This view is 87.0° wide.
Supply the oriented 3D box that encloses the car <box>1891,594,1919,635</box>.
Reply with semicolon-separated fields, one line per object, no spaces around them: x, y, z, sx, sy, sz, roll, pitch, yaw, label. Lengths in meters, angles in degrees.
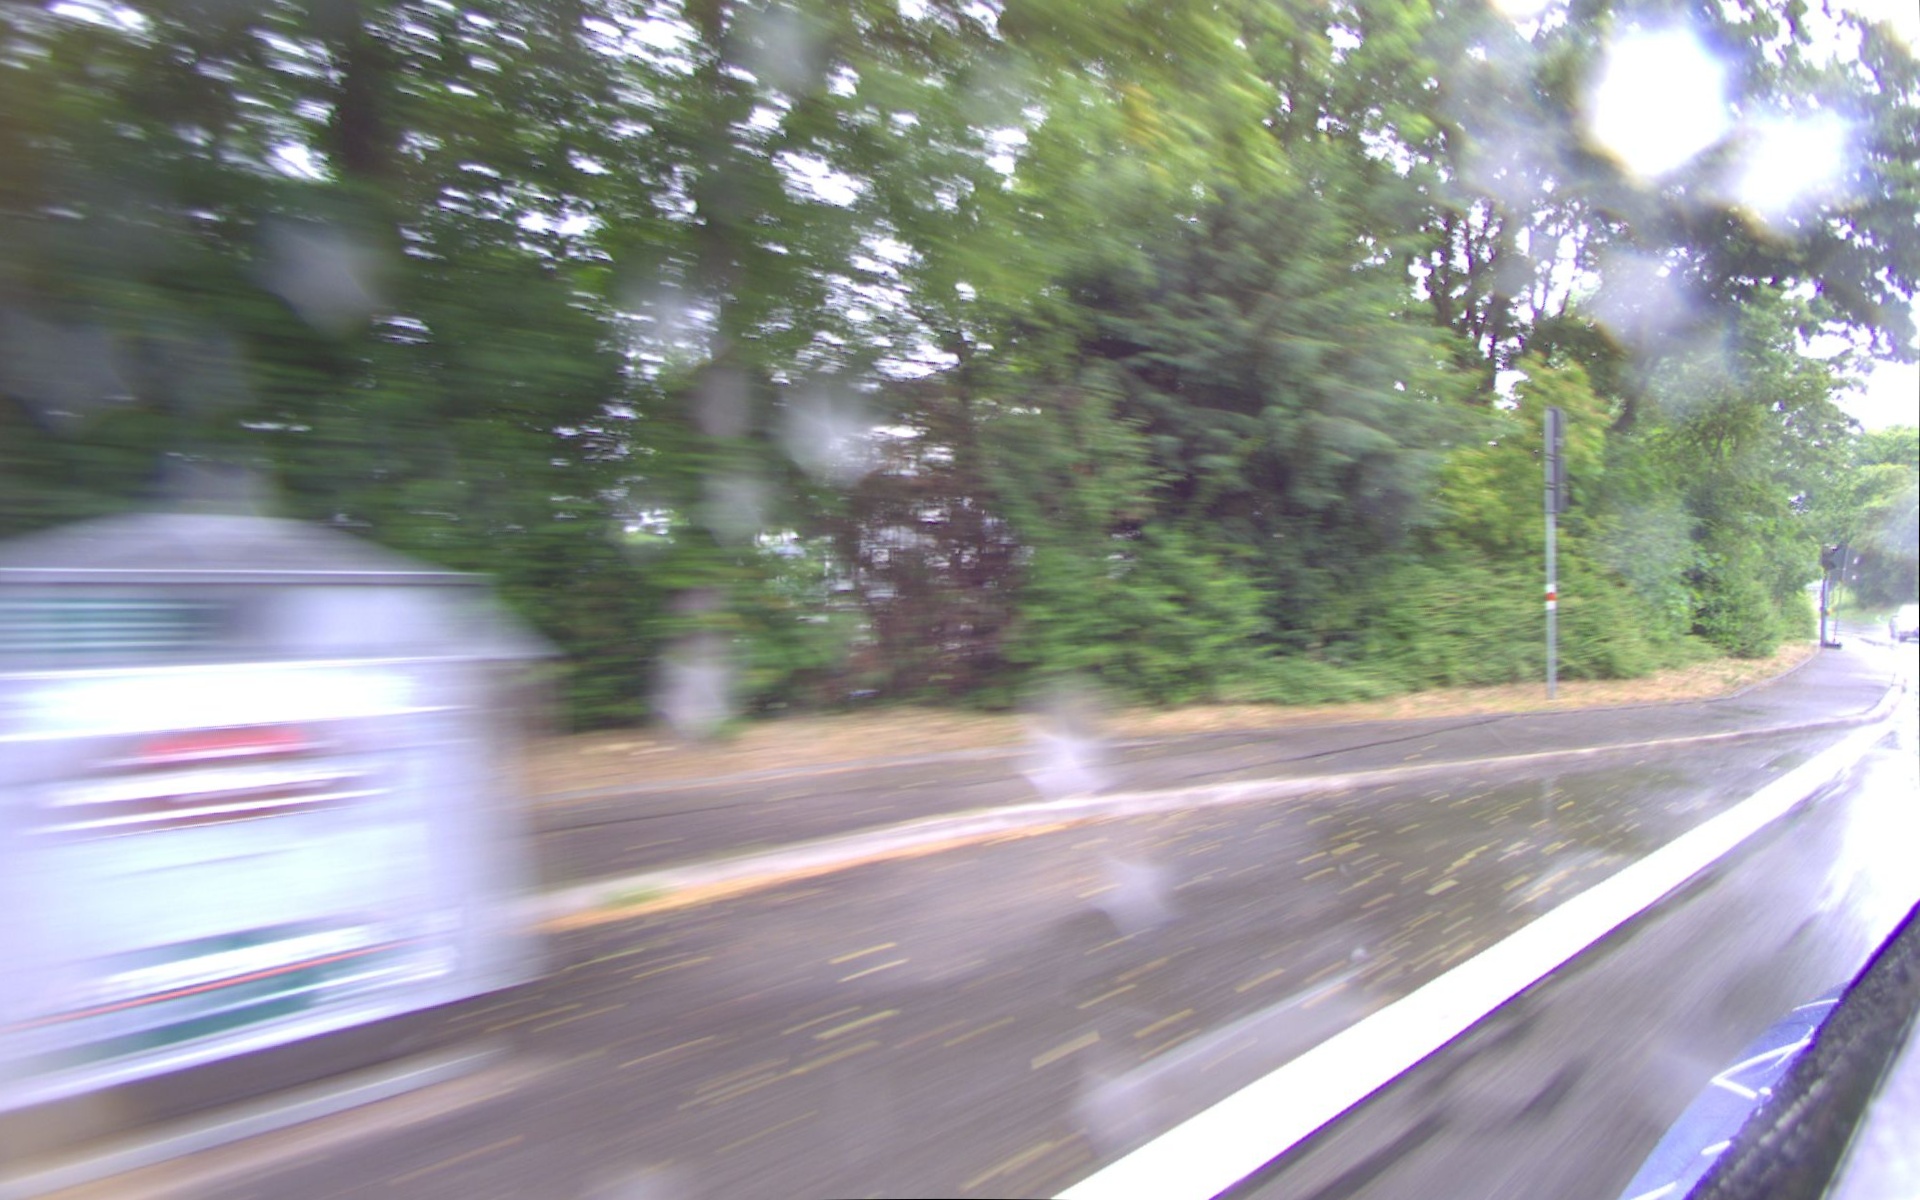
38.382;0.543;39.916;1.788;1.572;3.952;-1;0;34;car
